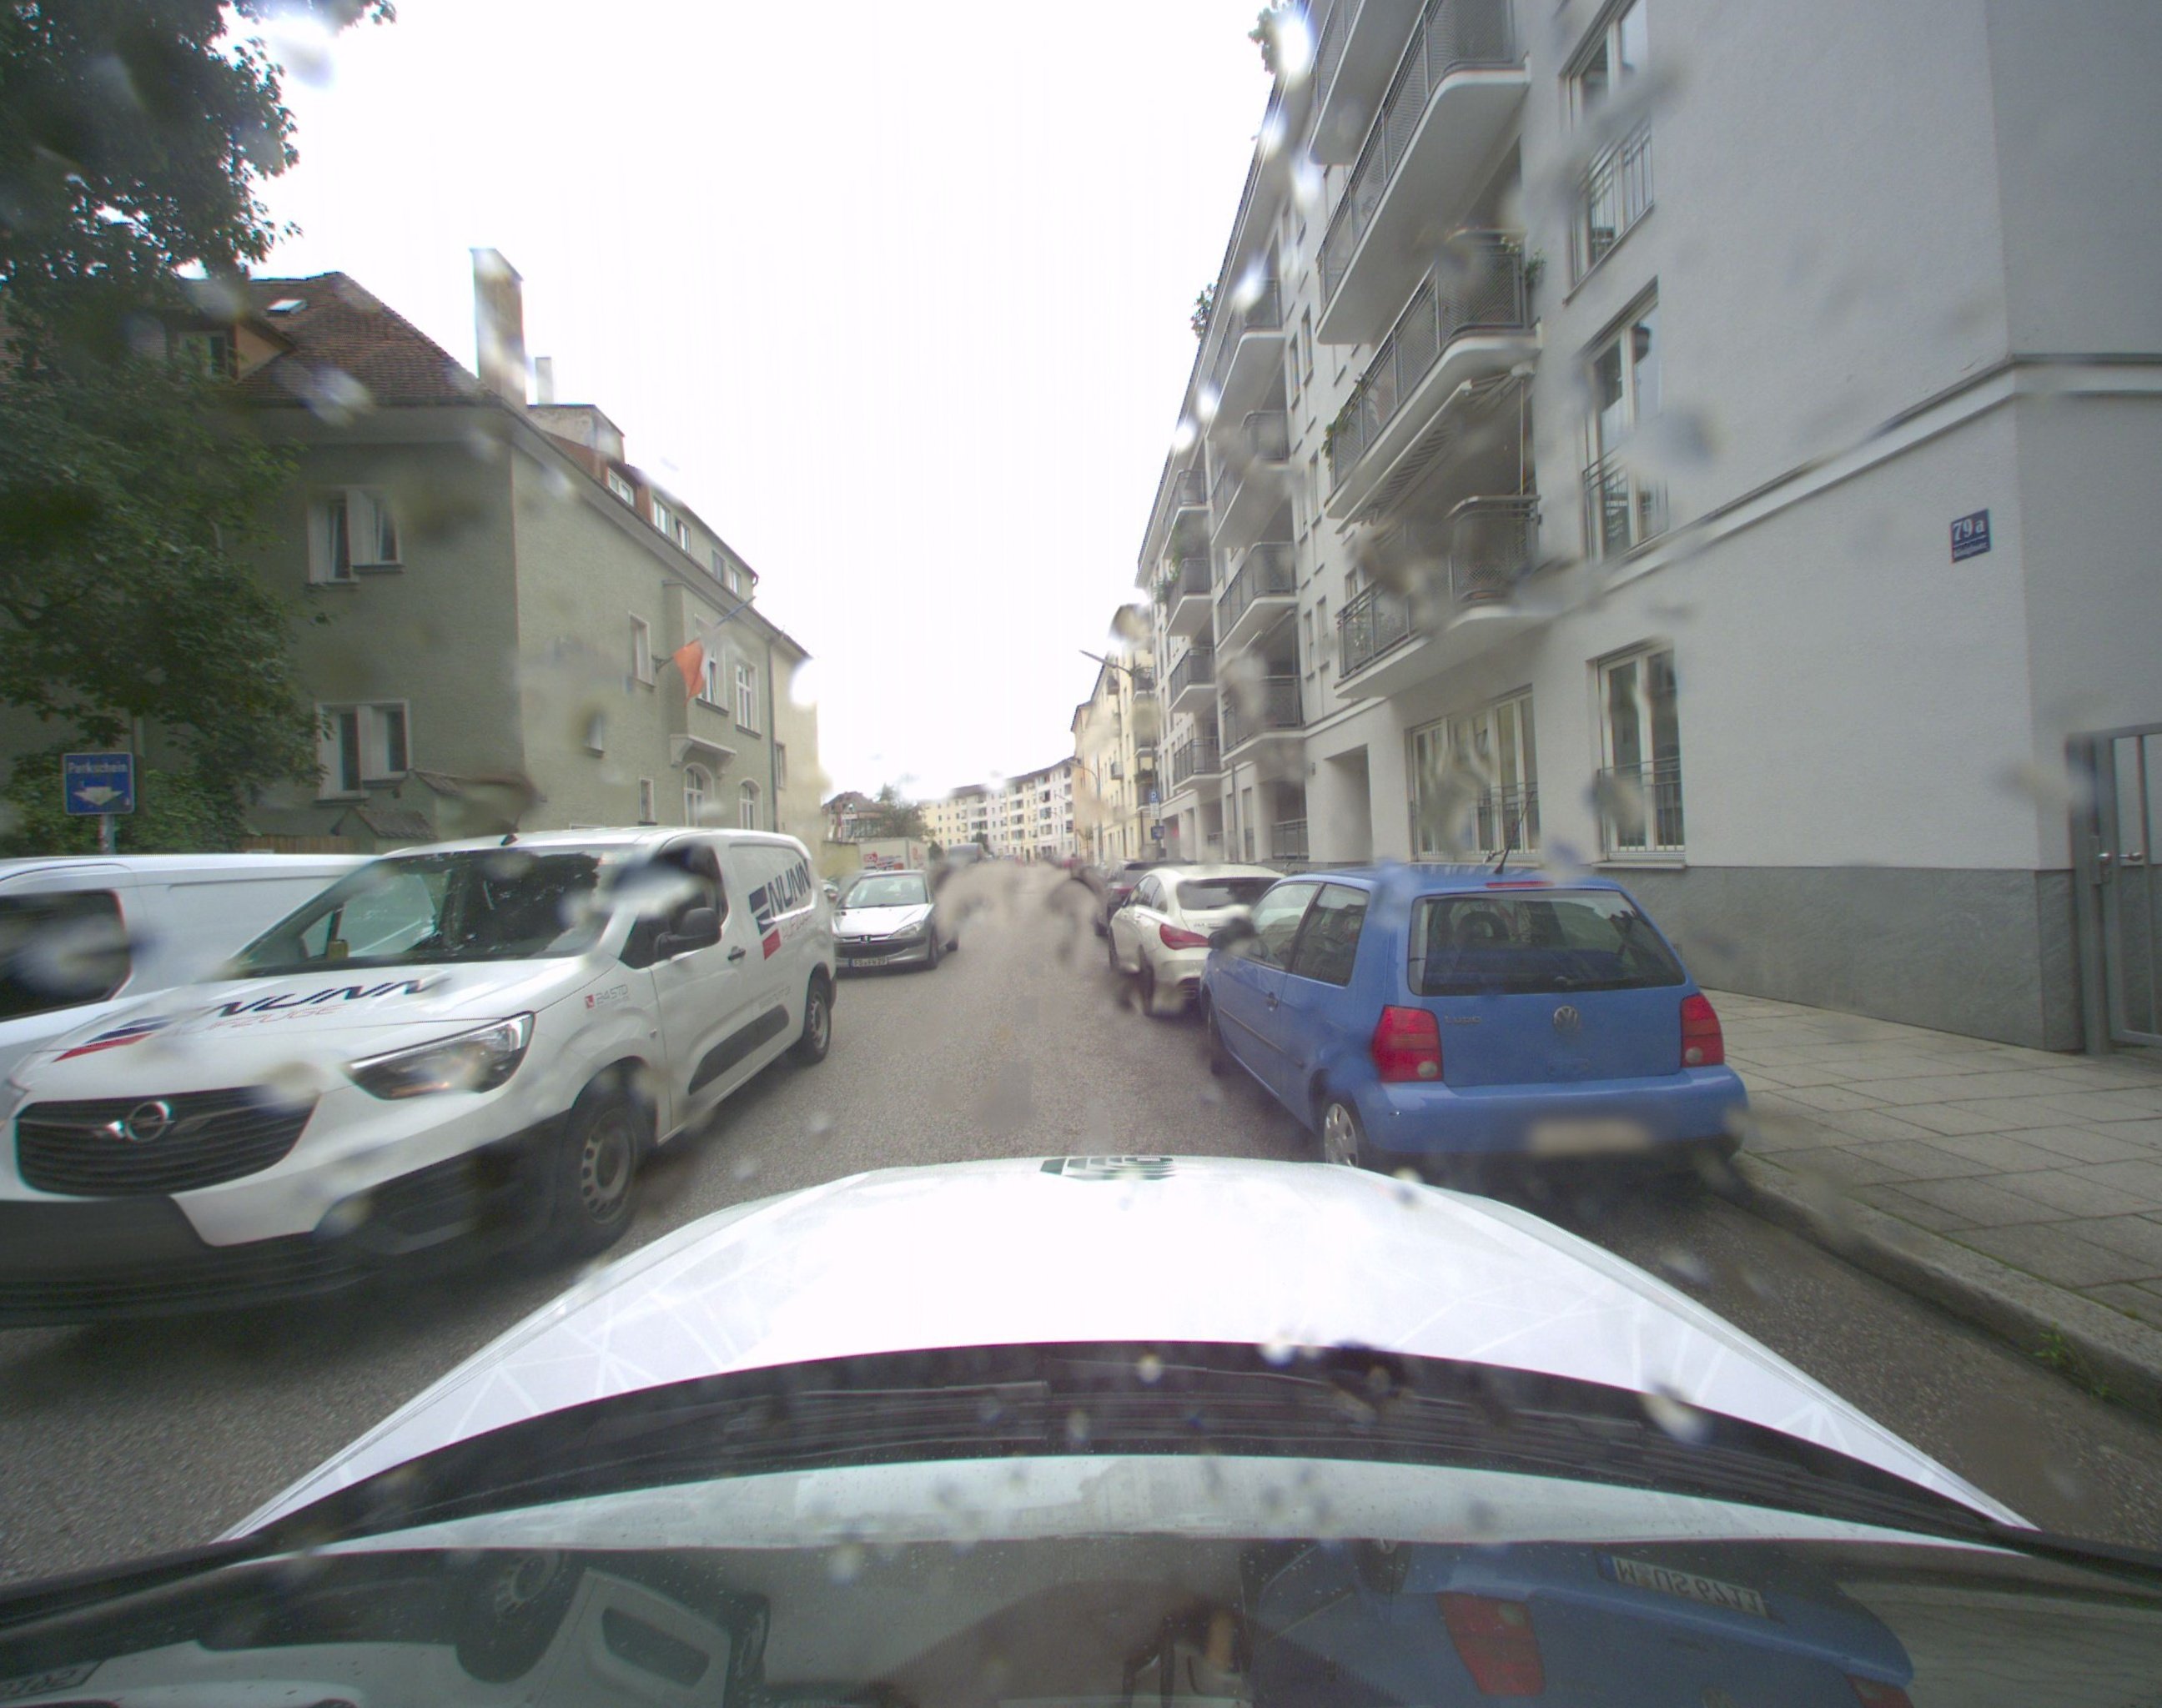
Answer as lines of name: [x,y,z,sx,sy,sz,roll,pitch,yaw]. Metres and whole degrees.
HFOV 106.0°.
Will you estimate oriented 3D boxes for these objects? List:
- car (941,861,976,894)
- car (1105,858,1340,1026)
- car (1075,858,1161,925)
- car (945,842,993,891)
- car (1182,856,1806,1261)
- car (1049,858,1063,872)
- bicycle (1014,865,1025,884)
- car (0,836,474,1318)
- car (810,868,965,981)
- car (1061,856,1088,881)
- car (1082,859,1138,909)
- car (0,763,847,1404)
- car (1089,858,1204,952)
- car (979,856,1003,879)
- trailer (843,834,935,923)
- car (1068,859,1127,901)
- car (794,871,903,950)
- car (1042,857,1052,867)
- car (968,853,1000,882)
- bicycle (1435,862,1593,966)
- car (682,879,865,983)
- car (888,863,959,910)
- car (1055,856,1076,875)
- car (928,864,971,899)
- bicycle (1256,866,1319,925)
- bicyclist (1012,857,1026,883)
car: [-6.368,1.201,42.638,1.584,1.538,3.535,-4,1,-7]
car: [1.297,0.767,9.143,1.655,1.440,4.200,0,0,-4]
car: [0.853,0.883,21.230,1.731,1.530,4.615,0,0,-4]
car: [-6.579,0.692,48.409,2.082,2.636,5.374,-3,0,-1]
car: [1.744,0.743,4.722,1.616,1.412,3.547,0,-1,-5]
car: [-3.045,1.280,99.865,1.471,1.641,3.995,-1,0,-4]
bicycle: [-3.832,1.276,50.829,0.502,1.128,1.773,-4,0,0]
car: [-4.962,0.894,3.487,1.687,1.803,4.139,-4,0,-4]
car: [-2.827,0.965,12.656,1.577,1.411,3.610,-3,-1,-2]
car: [-0.456,0.955,54.694,1.592,1.509,3.797,-3,0,-3]
car: [0.892,0.932,26.836,1.516,1.530,3.522,-1,0,-3]
car: [-2.811,0.669,4.664,1.768,1.803,4.566,-2,0,-3]
car: [1.112,0.846,15.423,1.600,1.530,3.978,0,0,-4]
car: [-7.508,1.119,68.166,1.698,1.691,4.022,-4,0,-4]
trailer: [-5.952,0.709,25.738,1.704,2.461,4.385,-5,0,0]
car: [0.565,0.944,30.942,1.761,1.408,4.070,-2,-1,-5]
car: [-5.675,1.313,20.351,1.683,1.603,3.916,-5,0,-4]
car: [-4.676,1.035,111.043,1.270,1.299,2.793,-2,0,-4]
car: [-7.206,0.998,60.830,1.878,1.931,4.596,-4,0,-3]
bicycle: [4.838,0.647,9.258,0.676,1.028,1.832,-3,-2,-4]
car: [-5.366,1.267,14.865,1.857,1.412,4.327,-5,-1,-4]
car: [-5.986,1.182,31.447,1.761,1.538,4.540,-5,0,0]
car: [-1.394,0.996,70.490,1.596,1.491,3.794,-2,0,-4]
car: [-6.103,1.251,38.178,1.698,1.445,3.818,-2,0,-5]
bicycle: [4.467,0.859,17.760,0.626,1.160,2.124,-3,0,-5]
bicyclist: [-3.879,1.008,50.824,0.692,1.561,0.966,-4,0,0]
